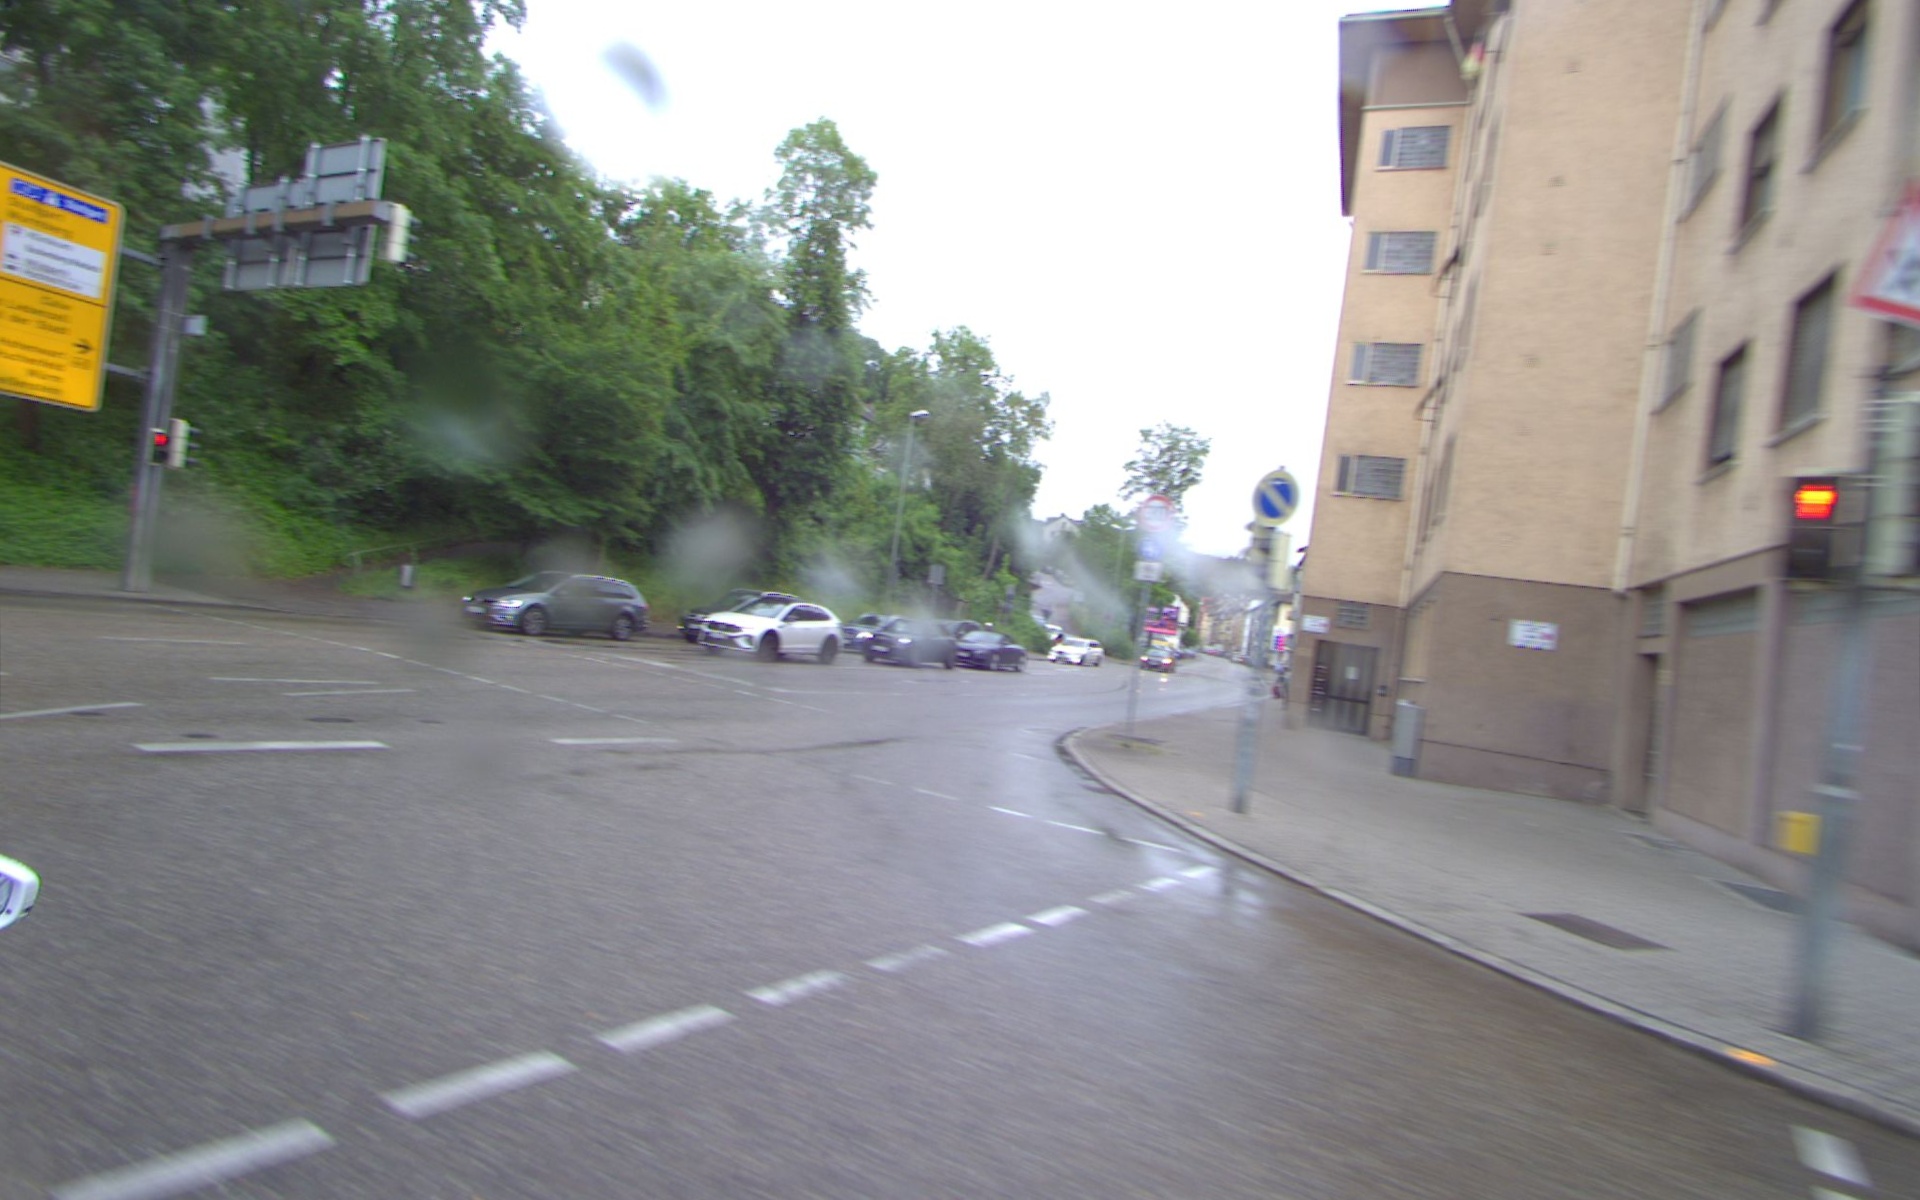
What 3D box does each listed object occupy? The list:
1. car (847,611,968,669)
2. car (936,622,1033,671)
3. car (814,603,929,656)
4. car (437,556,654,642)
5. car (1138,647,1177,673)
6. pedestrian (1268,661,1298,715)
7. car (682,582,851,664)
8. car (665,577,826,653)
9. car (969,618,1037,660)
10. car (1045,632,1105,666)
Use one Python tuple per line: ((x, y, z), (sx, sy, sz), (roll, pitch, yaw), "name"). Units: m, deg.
((-1.530, 1.269, 30.921), (1.777, 1.386, 4.153), (7, -1, 26), "car")
((0.947, 1.697, 35.855), (1.777, 1.386, 4.153), (7, -1, 26), "car")
((-3.075, 1.103, 36.035), (1.795, 1.499, 4.623), (7, -1, 27), "car")
((-9.428, 0.031, 23.273), (1.851, 1.520, 4.331), (7, 0, 29), "car")
((12.647, 3.870, 64.233), (1.776, 1.386, 4.158), (7, -1, 19), "car")
((11.769, 3.218, 36.680), (0.765, 1.824, 1.033), (8, -2, 20), "pedestrian")
((-4.626, 0.627, 24.633), (1.777, 1.580, 4.153), (7, -1, 26), "car")
((-6.090, 0.498, 29.128), (1.796, 1.717, 4.621), (7, -1, 29), "car")
((2.178, 1.928, 49.109), (1.793, 1.717, 4.628), (7, -1, 21), "car")
((6.479, 2.762, 56.294), (1.982, 1.500, 4.965), (7, -1, 22), "car")
